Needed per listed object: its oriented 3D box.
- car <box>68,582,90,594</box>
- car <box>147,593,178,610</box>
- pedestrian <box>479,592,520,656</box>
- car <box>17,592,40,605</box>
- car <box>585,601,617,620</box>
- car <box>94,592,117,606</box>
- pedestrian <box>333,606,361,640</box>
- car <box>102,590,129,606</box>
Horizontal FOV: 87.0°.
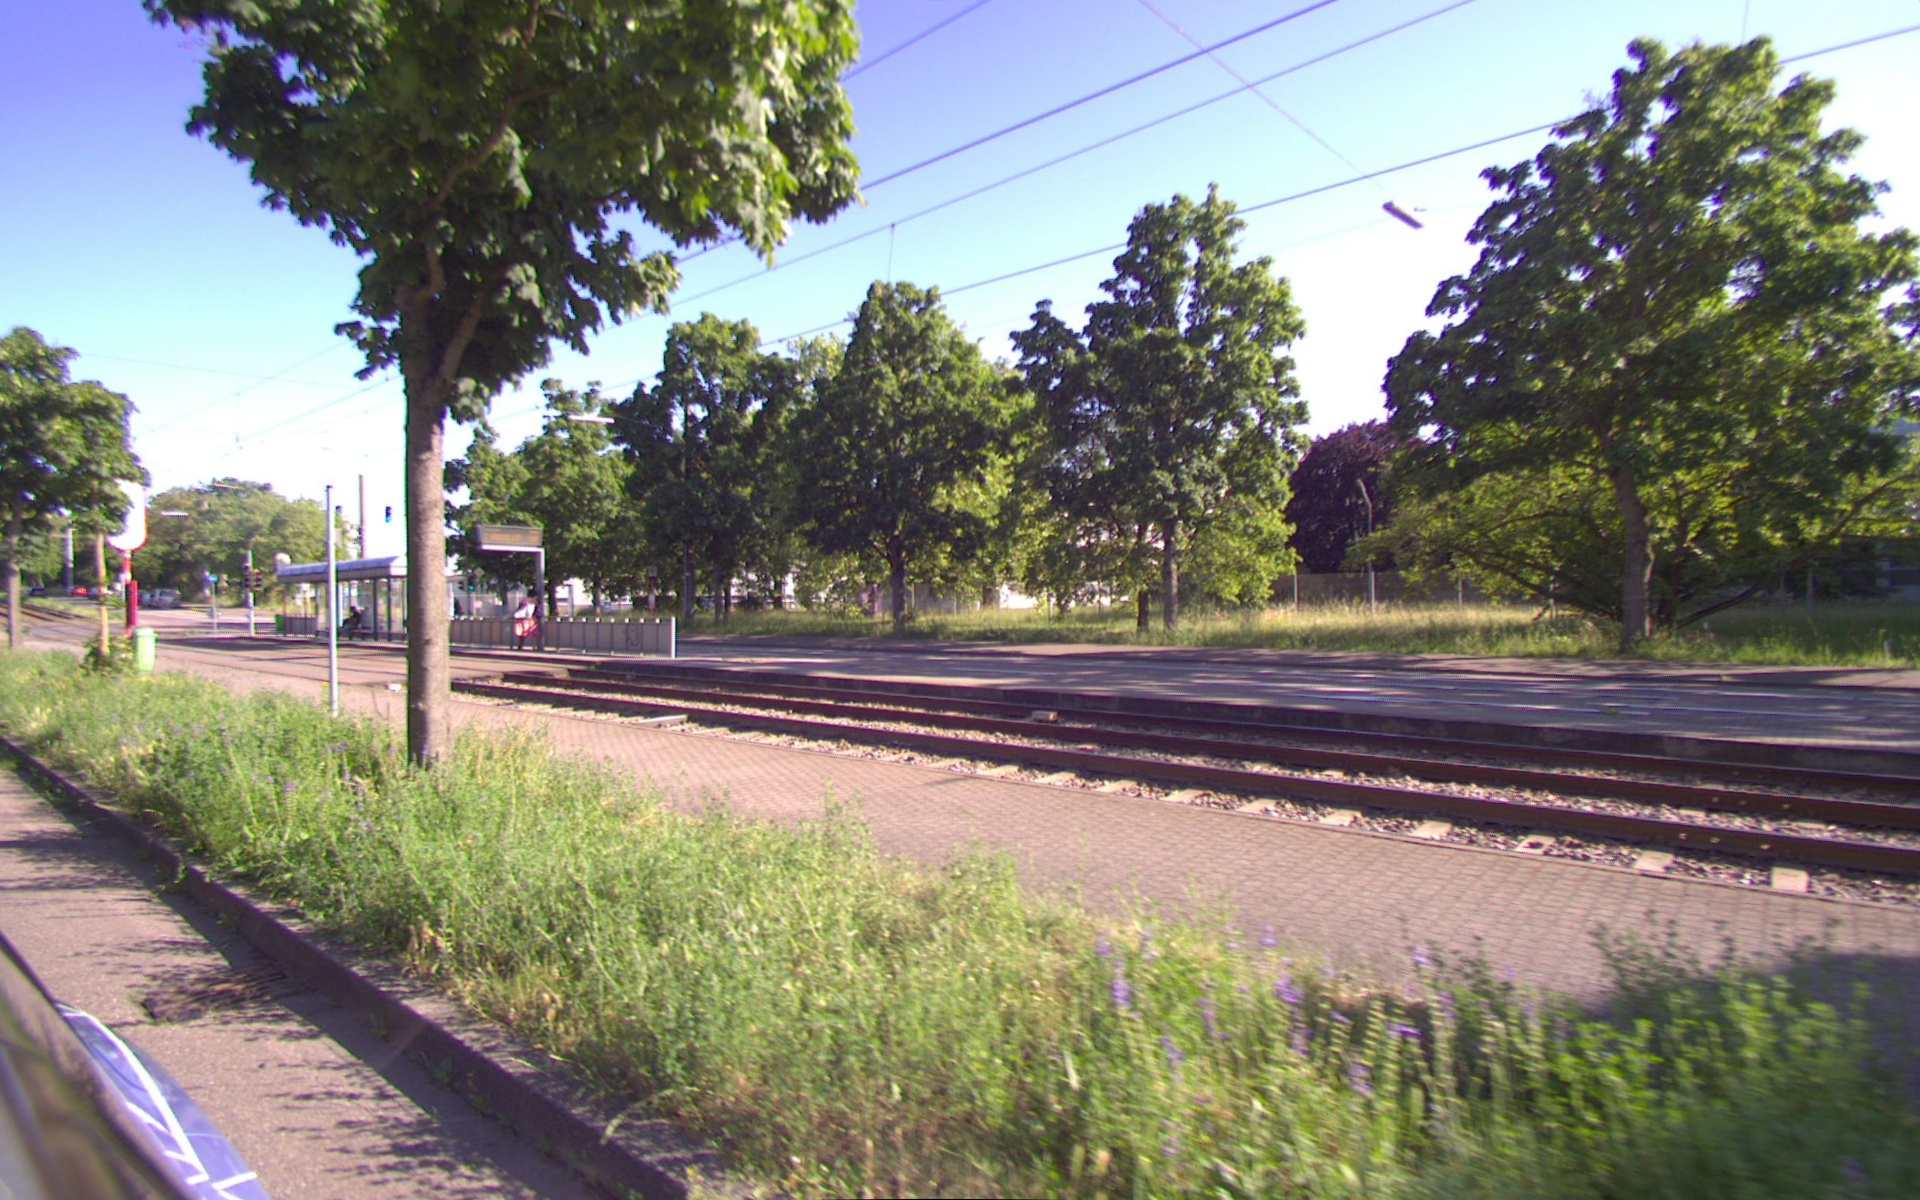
[{"bbox_3d":[-120.686,-1.657,138.602,3.454,1.597,1.680,-1,-1,40],"label":"car"},{"bbox_3d":[-77.308,0.182,98.099,3.454,1.597,1.749,-1,-1,40],"label":"car"},{"bbox_3d":[-13.043,0.661,28.648,0.781,1.765,0.776,-1,0,40],"label":"pedestrian"},{"bbox_3d":[-118.750,-0.184,128.996,3.454,1.597,1.680,-1,-1,40],"label":"car"},{"bbox_3d":[-34.312,1.012,96.679,1.967,1.719,4.010,-1,0,-34],"label":"car"},{"bbox_3d":[-106.662,-0.112,126.284,3.454,1.597,1.680,-1,-1,40],"label":"car"},{"bbox_3d":[-22.847,0.864,37.735,0.679,1.258,0.643,-1,-2,32],"label":"pedestrian"},{"bbox_3d":[-90.880,-0.199,108.862,3.454,1.597,1.680,-1,-1,40],"label":"car"}]
